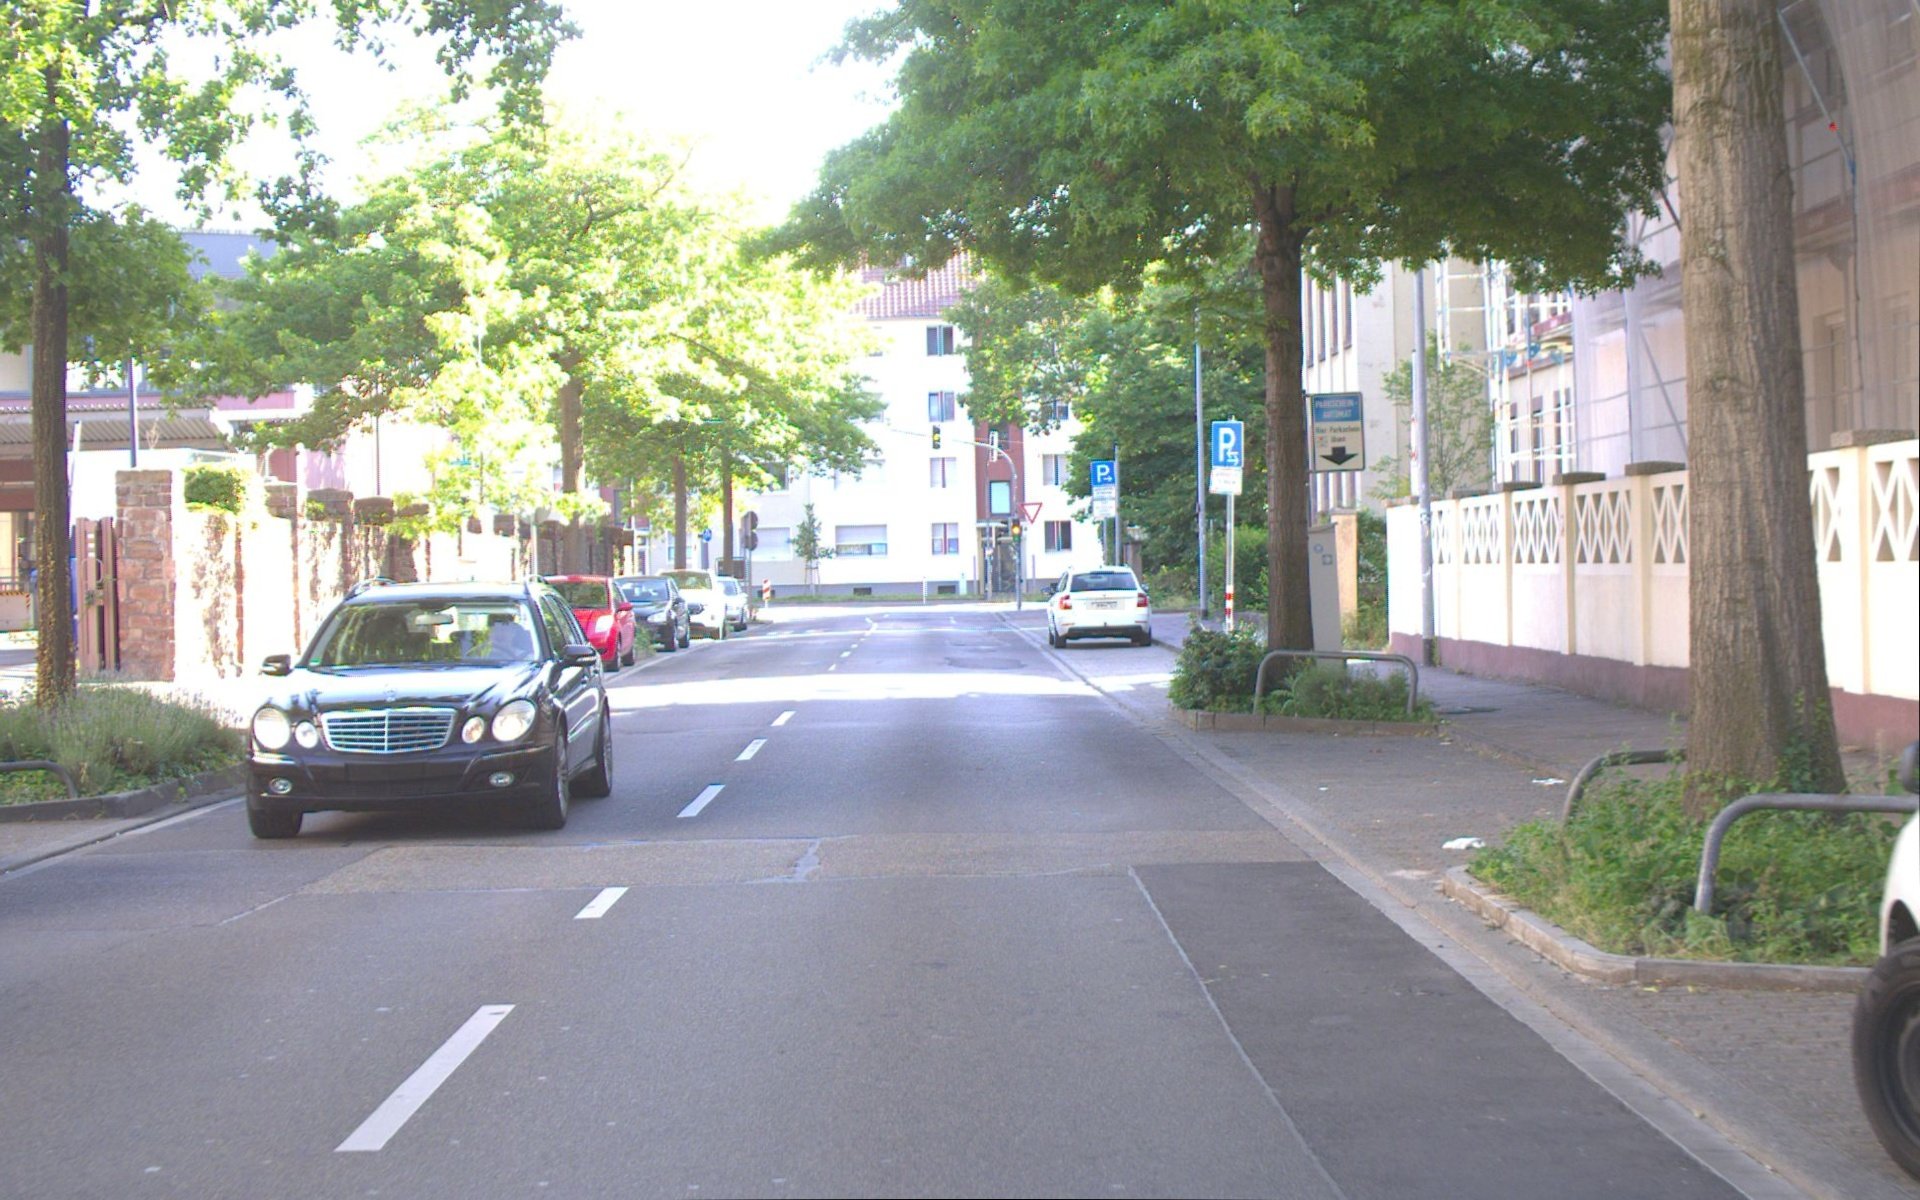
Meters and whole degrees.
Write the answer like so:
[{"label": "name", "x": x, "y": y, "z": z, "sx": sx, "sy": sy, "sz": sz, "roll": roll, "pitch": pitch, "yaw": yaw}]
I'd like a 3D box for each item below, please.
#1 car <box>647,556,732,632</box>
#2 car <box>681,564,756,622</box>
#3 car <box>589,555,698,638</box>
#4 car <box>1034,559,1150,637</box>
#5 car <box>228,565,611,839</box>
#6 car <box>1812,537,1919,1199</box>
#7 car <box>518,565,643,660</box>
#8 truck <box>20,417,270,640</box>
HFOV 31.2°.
[{"label": "car", "x": -6.225, "y": -0.158, "z": 79.490, "sx": 1.720, "sy": 1.678, "sz": 4.351, "roll": -1, "pitch": 1, "yaw": -2}, {"label": "car", "x": -6.410, "y": -0.198, "z": 91.474, "sx": 1.726, "sy": 1.470, "sz": 4.478, "roll": 1, "pitch": 1, "yaw": -1}, {"label": "car", "x": -6.323, "y": -0.102, "z": 69.017, "sx": 1.737, "sy": 1.587, "sz": 4.106, "roll": -1, "pitch": 1, "yaw": 1}, {"label": "car", "x": 2.373, "y": -0.058, "z": 62.882, "sx": 1.832, "sy": 1.318, "sz": 4.496, "roll": -2, "pitch": 1, "yaw": -1}, {"label": "car", "x": -3.196, "y": 0.544, "z": 21.043, "sx": 1.821, "sy": 1.431, "sz": 3.970, "roll": -2, "pitch": 1, "yaw": -2}, {"label": "car", "x": 2.908, "y": 0.613, "z": 6.462, "sx": 1.724, "sy": 1.505, "sz": 3.991, "roll": -3, "pitch": 1, "yaw": 3}, {"label": "car", "x": -6.080, "y": 0.177, "z": 55.402, "sx": 1.609, "sy": 1.454, "sz": 3.708, "roll": 1, "pitch": 1, "yaw": 0}, {"label": "truck", "x": -14.362, "y": -1.236, "z": 61.148, "sx": 2.732, "sy": 3.698, "sz": 7.428, "roll": 1, "pitch": 1, "yaw": -1}]
